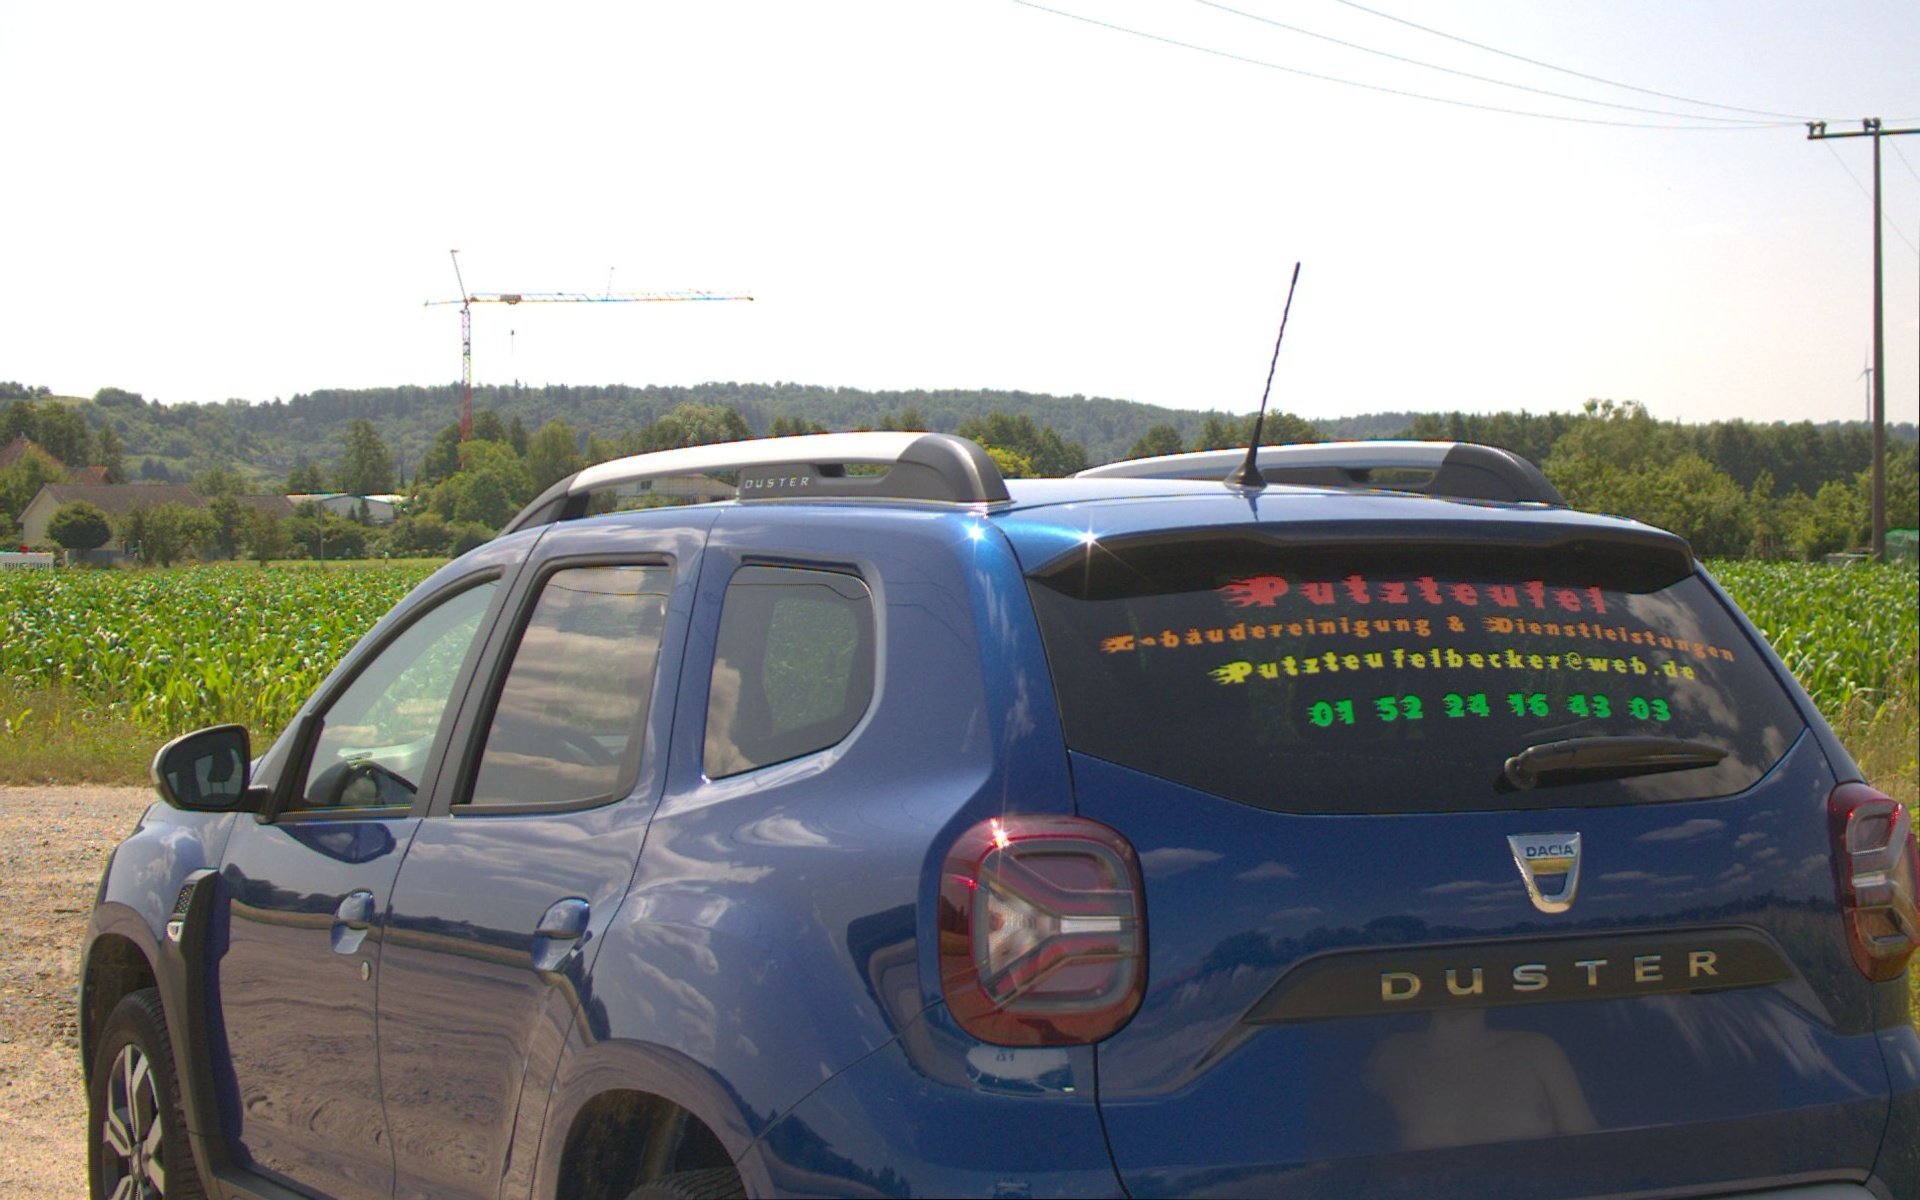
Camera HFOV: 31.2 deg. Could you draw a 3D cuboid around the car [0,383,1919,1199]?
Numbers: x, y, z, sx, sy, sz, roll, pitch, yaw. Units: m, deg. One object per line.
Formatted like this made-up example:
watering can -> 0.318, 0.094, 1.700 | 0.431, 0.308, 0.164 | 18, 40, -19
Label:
car -> -0.247, 0.600, 6.039 | 1.858, 1.655, 4.459 | 0, 0, -28
